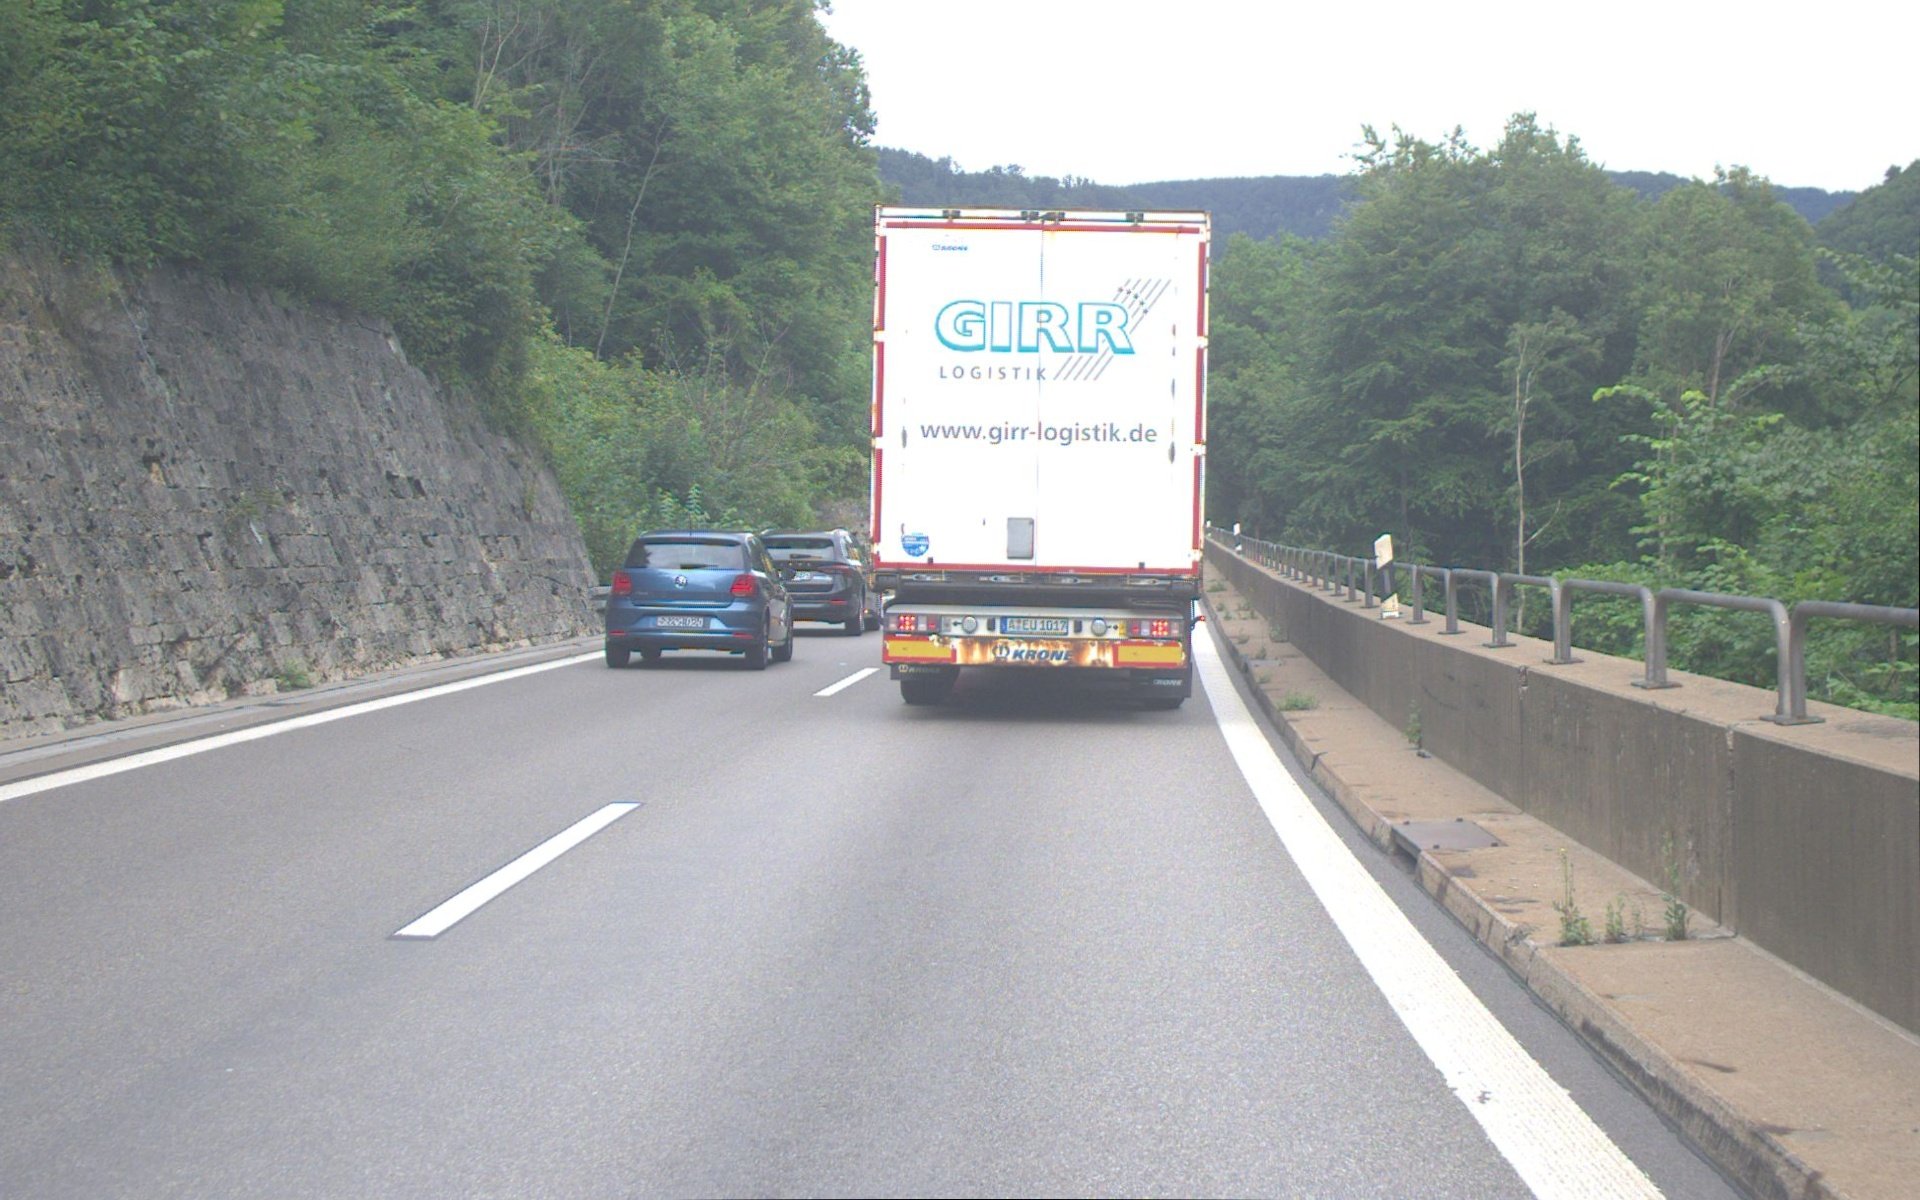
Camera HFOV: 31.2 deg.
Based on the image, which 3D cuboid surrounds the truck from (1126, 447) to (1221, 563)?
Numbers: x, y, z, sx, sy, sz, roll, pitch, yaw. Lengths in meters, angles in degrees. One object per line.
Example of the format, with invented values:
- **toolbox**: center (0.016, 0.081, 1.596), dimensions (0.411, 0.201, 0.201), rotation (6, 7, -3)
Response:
- **truck**: center (7.331, -3.167, 117.031), dimensions (2.971, 3.752, 10.360), rotation (1, 1, 5)

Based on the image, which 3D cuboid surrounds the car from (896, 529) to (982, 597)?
- **car**: center (-0.448, -0.829, 77.775), dimensions (1.745, 1.481, 4.000), rotation (1, 0, 3)

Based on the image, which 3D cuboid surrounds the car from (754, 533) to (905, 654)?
- **car**: center (-1.764, -0.100, 47.546), dimensions (1.745, 1.581, 4.000), rotation (1, 0, 3)

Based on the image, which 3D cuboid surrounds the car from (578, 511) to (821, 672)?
- **car**: center (-2.703, -0.141, 36.628), dimensions (1.994, 1.590, 4.353), rotation (1, 1, 3)

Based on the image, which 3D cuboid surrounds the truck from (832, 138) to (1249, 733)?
- **truck**: center (0.941, -1.403, 33.474), dimensions (3.085, 4.448, 15.155), rotation (1, 1, 3)
